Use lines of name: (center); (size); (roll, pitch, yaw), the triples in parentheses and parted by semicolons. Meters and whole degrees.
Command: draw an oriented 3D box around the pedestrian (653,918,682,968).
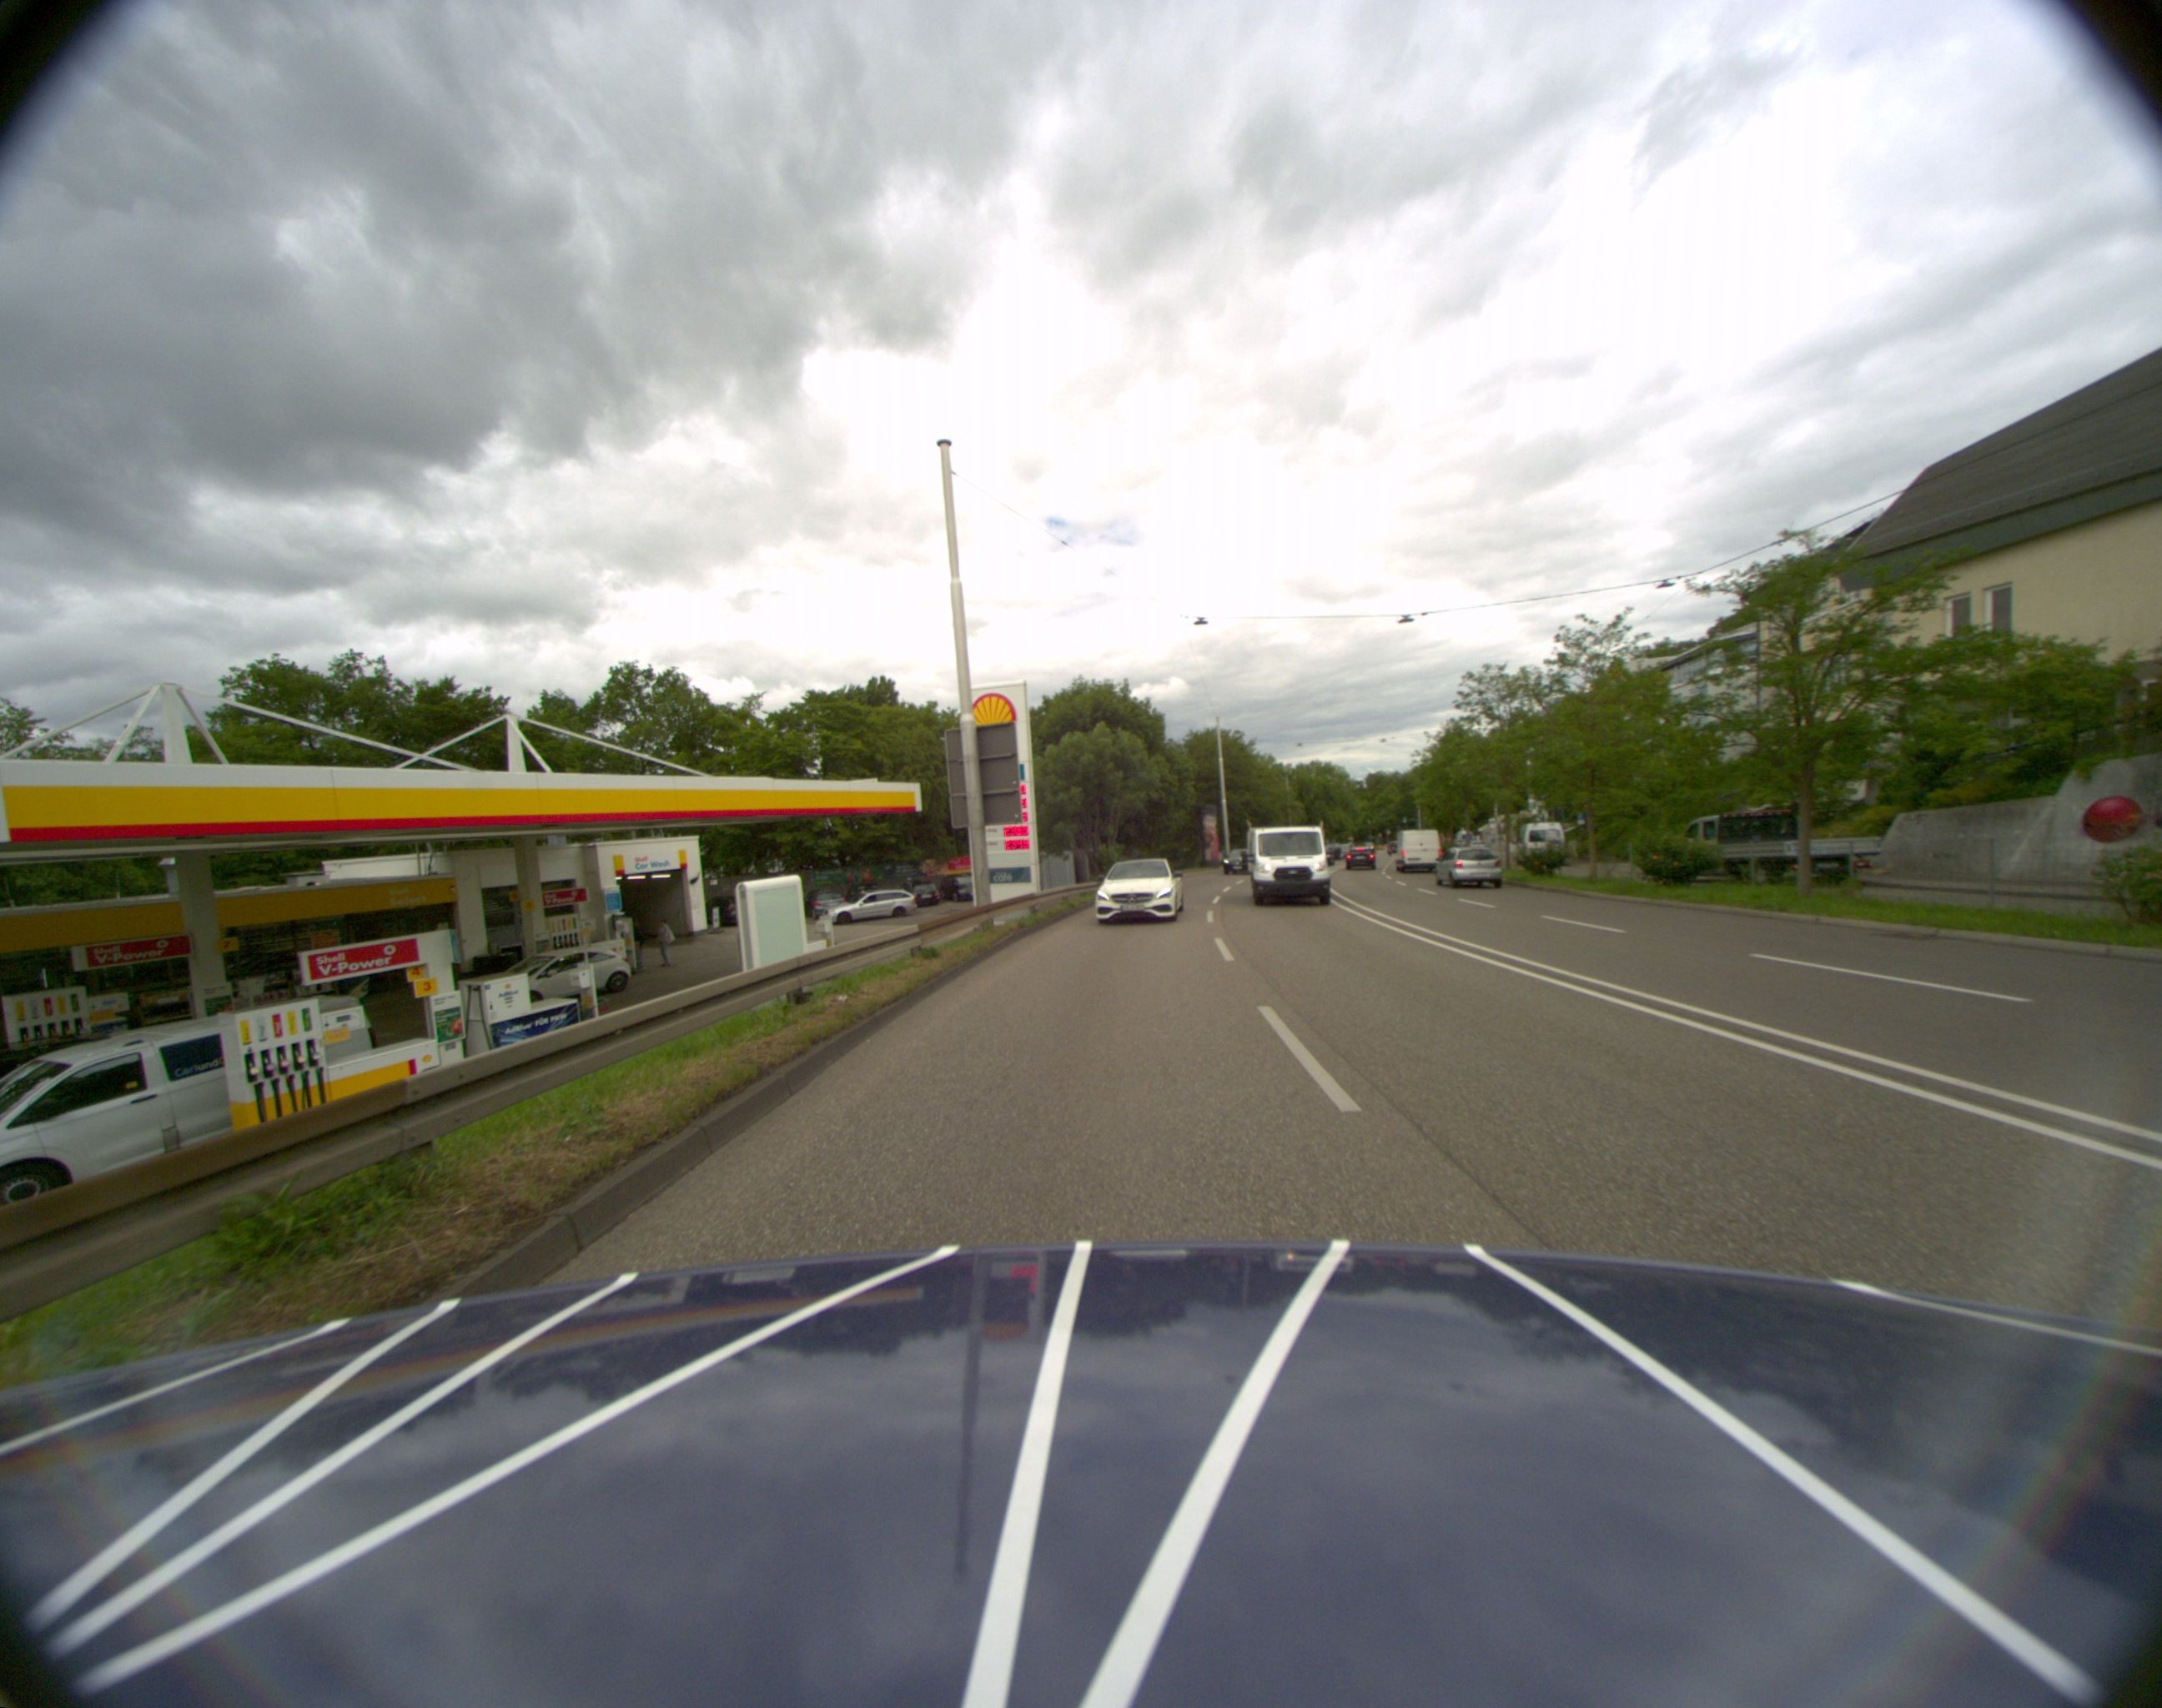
pedestrian: (-14.796, 3.173, 27.201); (0.543, 1.695, 0.610); (-2, 1, 18)

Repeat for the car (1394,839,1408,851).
car: (43.655, -1.264, 103.674); (1.787, 1.530, 4.081); (-2, 0, 23)

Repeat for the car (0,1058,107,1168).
car: (-18.885, 4.539, 12.025); (1.737, 1.477, 3.883); (-7, 0, 26)

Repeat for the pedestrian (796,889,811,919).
pedestrian: (-14.399, 2.589, 39.438); (0.469, 1.530, 0.430); (-7, 1, -28)

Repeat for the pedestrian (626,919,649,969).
pedestrian: (-15.661, 3.176, 26.853); (0.491, 1.695, 0.432); (-2, 1, 33)

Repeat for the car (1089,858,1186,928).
car: (1.455, 0.837, 18.135); (1.819, 1.339, 4.002); (-1, 2, 11)

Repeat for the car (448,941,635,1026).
car: (-15.156, 3.561, 21.600); (1.737, 1.478, 3.881); (-2, 4, 24)

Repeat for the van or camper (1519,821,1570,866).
van or camper: (27.429, -0.671, 45.128); (1.995, 2.459, 5.719); (-1, 1, 25)

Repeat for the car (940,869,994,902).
car: (-6.707, 1.803, 44.336); (1.736, 1.419, 4.282); (-7, 5, -27)

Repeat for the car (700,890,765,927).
car: (-17.792, 2.733, 38.699); (1.726, 1.428, 4.093); (-5, 5, -42)

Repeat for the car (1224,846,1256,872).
car: (9.632, 0.299, 45.967); (1.732, 1.403, 4.003); (-3, 0, 12)

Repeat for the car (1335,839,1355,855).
car: (27.214, -0.716, 78.288); (1.727, 1.469, 4.005); (-3, 0, 21)

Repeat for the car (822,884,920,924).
car: (-10.401, 2.446, 37.726); (4.299, 1.424, 1.597); (-5, 4, -33)

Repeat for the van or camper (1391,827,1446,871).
van or camper: (18.876, -0.294, 42.788); (2.011, 2.248, 5.968); (-2, 0, 16)

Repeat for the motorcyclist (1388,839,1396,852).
motorcyclist: (35.874, -1.013, 87.716); (0.760, 1.477, 0.962); (1, 2, 26)

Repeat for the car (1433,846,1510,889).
car: (14.194, 0.453, 27.805); (1.705, 1.400, 3.813); (-2, 0, 15)

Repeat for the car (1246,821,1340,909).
car: (6.026, 0.270, 22.347); (1.997, 2.161, 6.273); (-2, 0, 10)

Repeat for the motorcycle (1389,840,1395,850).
motorcycle: (36.014, -1.045, 87.964); (0.484, 1.050, 2.272); (-1, 1, 27)

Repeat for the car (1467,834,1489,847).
car: (43.991, -1.514, 84.270); (1.674, 1.420, 4.424); (1, 2, 21)

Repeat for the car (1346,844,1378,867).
car: (17.951, 0.085, 48.734); (1.737, 1.406, 4.435); (-1, 0, 18)

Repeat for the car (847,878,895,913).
car: (-11.722, 2.253, 42.241); (1.737, 1.428, 4.207); (-4, 4, -26)

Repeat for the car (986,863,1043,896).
car: (-4.066, 1.506, 45.914); (1.737, 1.583, 4.282); (-7, 5, -29)

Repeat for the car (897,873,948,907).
car: (-9.132, 2.013, 43.465); (1.736, 1.429, 4.283); (-7, 5, -25)

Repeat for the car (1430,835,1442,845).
car: (67.191, -2.598, 143.867); (1.766, 1.698, 4.877); (-3, 0, 22)

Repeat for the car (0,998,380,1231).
car: (-14.324, 3.827, 11.697); (1.737, 1.999, 4.717); (-3, 4, 23)

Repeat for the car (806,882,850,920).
car: (-13.425, 2.444, 40.247); (1.630, 1.511, 4.090); (-4, 4, -26)

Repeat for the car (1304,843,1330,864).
car: (18.179, -0.045, 58.522); (1.734, 1.403, 4.005); (-3, 0, 19)

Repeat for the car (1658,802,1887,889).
car: (20.834, -0.267, 23.433); (2.271, 2.260, 6.331); (-2, 1, 11)
